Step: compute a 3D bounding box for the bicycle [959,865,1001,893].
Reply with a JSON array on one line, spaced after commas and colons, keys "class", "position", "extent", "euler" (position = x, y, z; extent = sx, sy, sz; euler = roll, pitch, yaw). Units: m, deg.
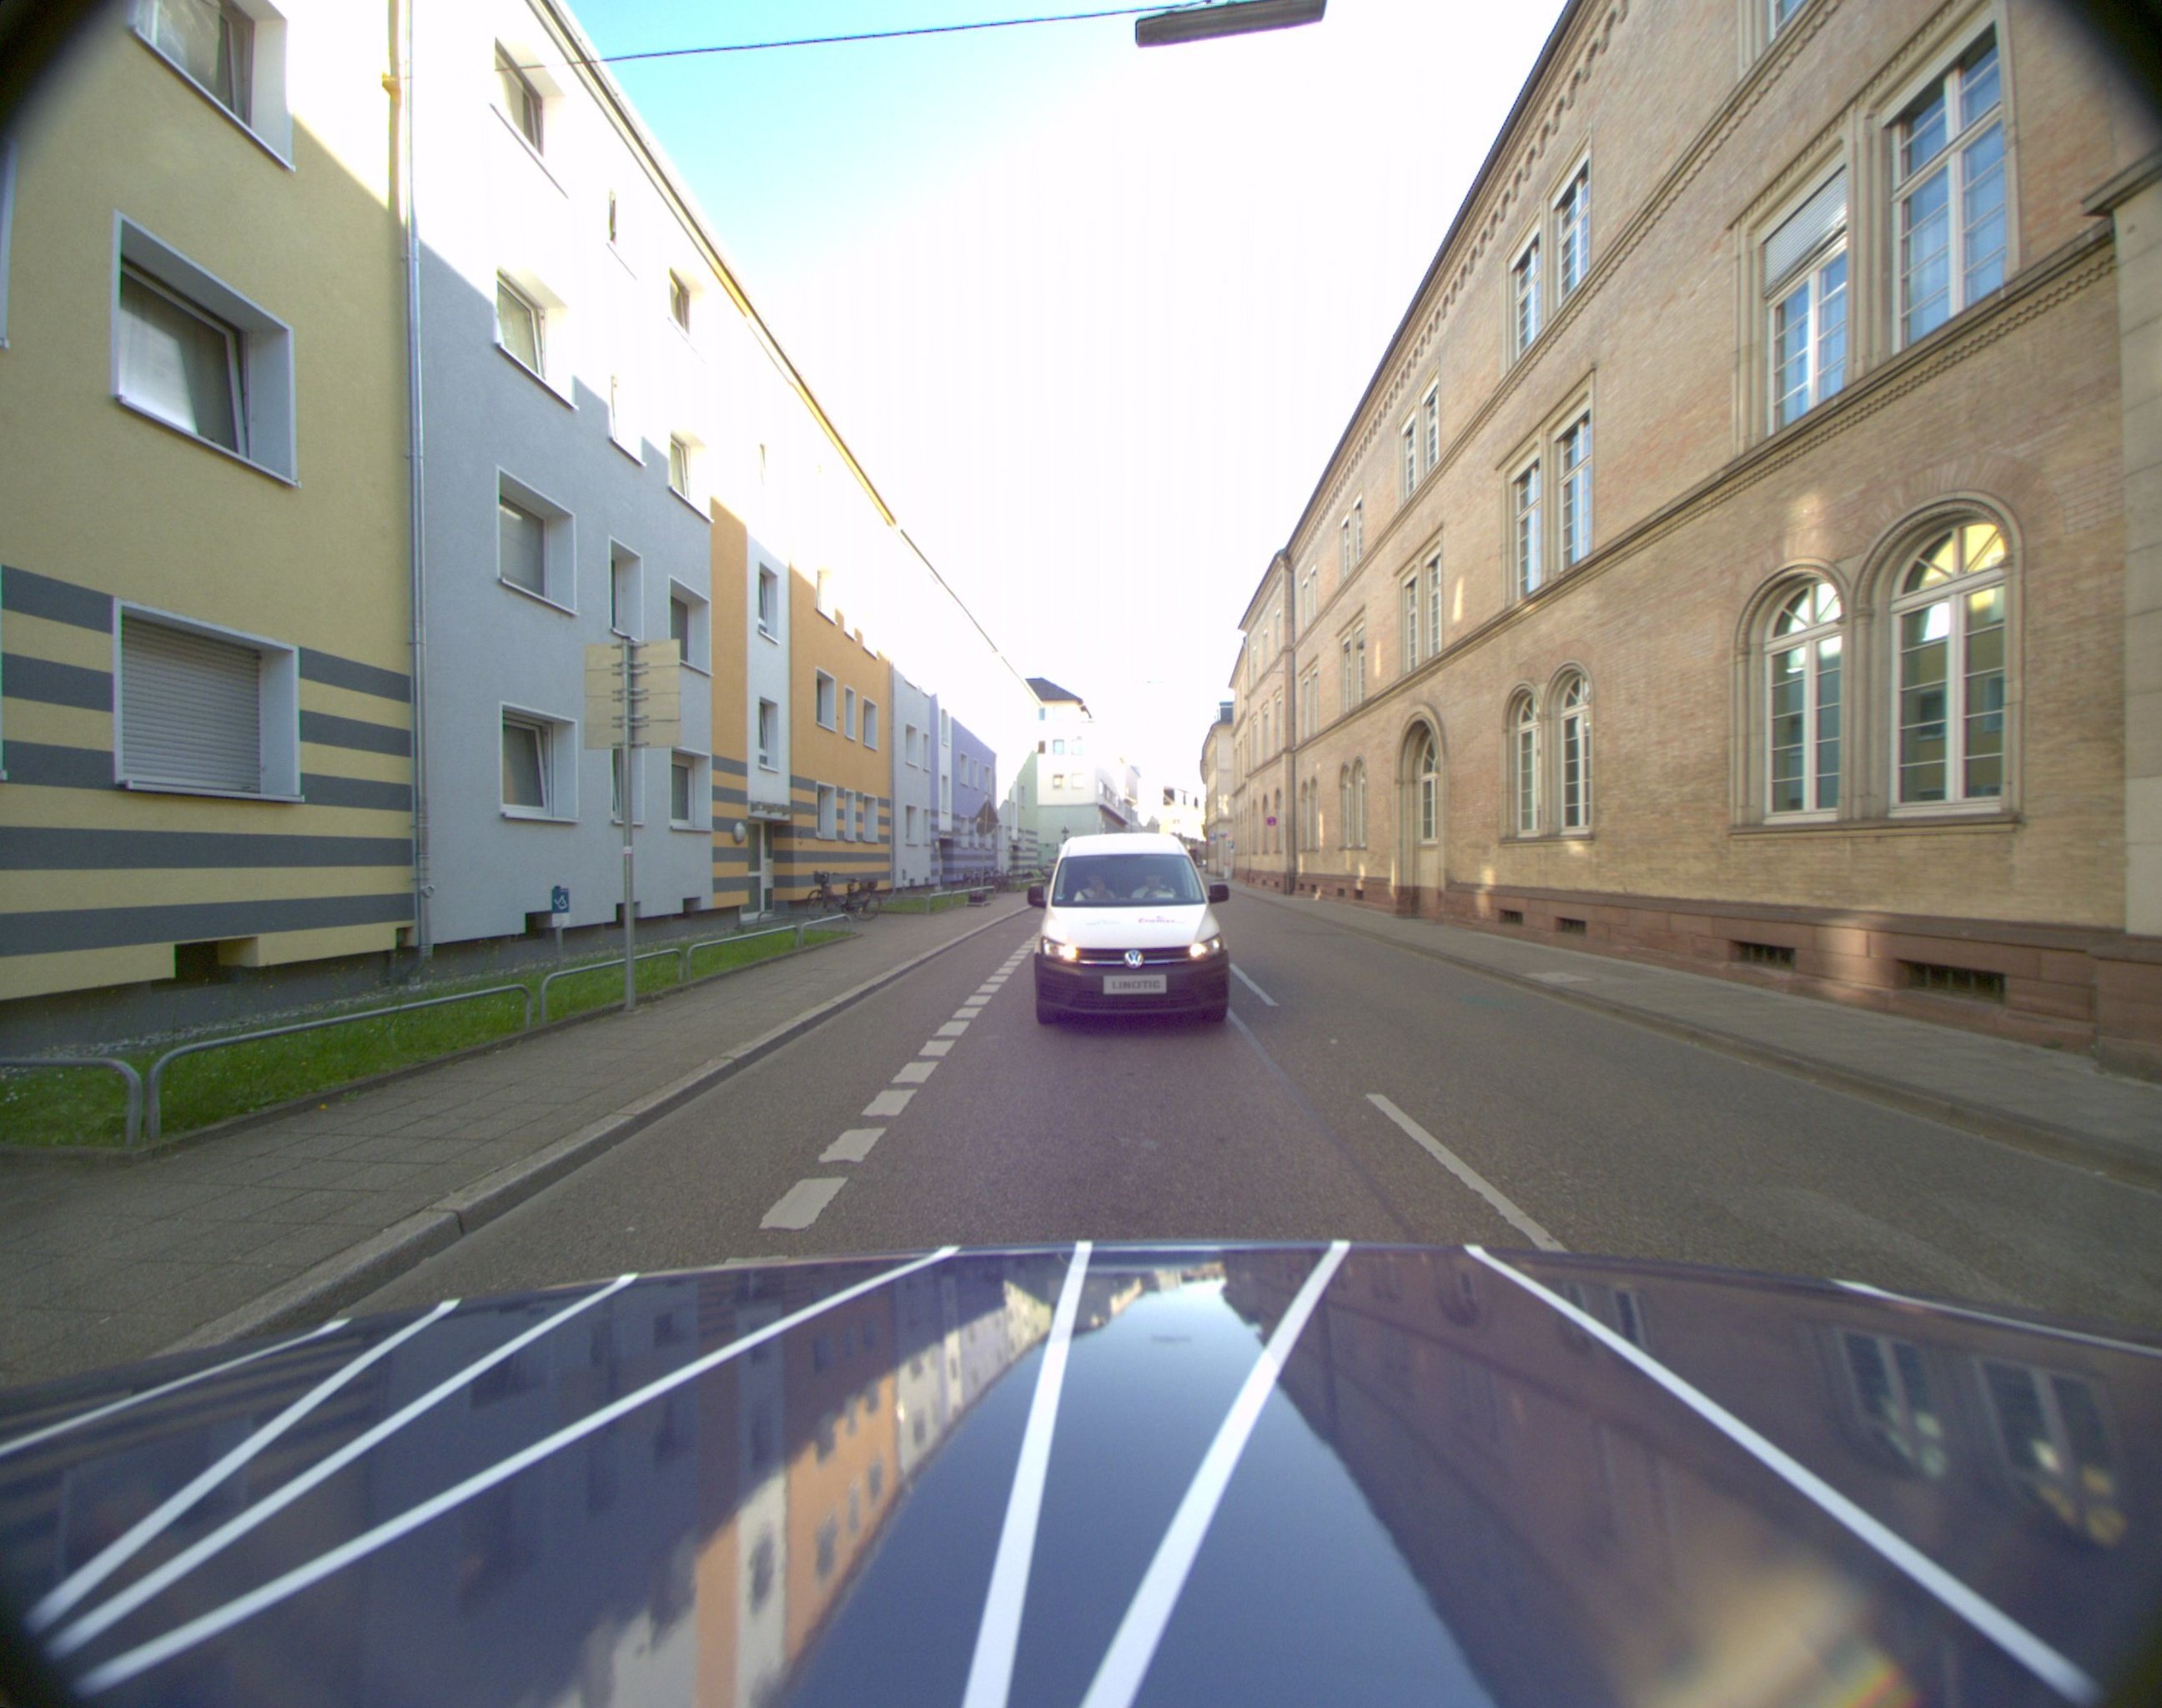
[{"class": "bicycle", "position": [-4.239, 1.034, 31.859], "extent": [1.676, 1.145, 0.484], "euler": [0, 0, 4]}]

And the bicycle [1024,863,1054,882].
[{"class": "bicycle", "position": [-2.519, 1.138, 46.069], "extent": [1.779, 1.145, 0.484], "euler": [0, 0, 0]}]

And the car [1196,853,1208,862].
[{"class": "car", "position": [26.087, 0.767, 163.771], "extent": [1.996, 1.643, 4.233], "euler": [-2, 1, 17]}]

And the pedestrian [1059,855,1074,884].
[{"class": "pedestrian", "position": [-0.825, 0.865, 42.934], "extent": [0.705, 1.627, 0.833], "euler": [2, 2, 5]}]

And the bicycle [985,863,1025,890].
[{"class": "bicycle", "position": [-3.376, 0.990, 33.698], "extent": [1.676, 1.145, 0.484], "euler": [0, 0, 4]}]

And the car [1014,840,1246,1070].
[{"class": "car", "position": [0.414, 0.751, 8.534], "extent": [1.769, 1.761, 5.331], "euler": [-1, 1, 1]}]

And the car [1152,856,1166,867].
[{"class": "car", "position": [12.643, 1.165, 122.718], "extent": [1.997, 1.643, 4.231], "euler": [-2, 1, 9]}]

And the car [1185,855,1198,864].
[{"class": "car", "position": [22.104, 1.053, 152.040], "extent": [1.996, 1.643, 4.233], "euler": [-2, 1, 17]}]

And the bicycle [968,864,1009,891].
[{"class": "bicycle", "position": [-4.035, 1.007, 33.153], "extent": [1.676, 1.145, 0.484], "euler": [0, 0, 4]}]

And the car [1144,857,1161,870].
[{"class": "car", "position": [10.672, 1.409, 113.019], "extent": [1.997, 1.643, 4.231], "euler": [-2, 1, 10]}]

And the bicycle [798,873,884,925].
[{"class": "bicycle", "position": [-5.388, 1.004, 17.122], "extent": [1.780, 1.116, 0.484], "euler": [0, 0, -5]}]

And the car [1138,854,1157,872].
[{"class": "car", "position": [9.409, 1.218, 107.107], "extent": [2.103, 2.264, 5.506], "euler": [-2, 1, 11]}]
